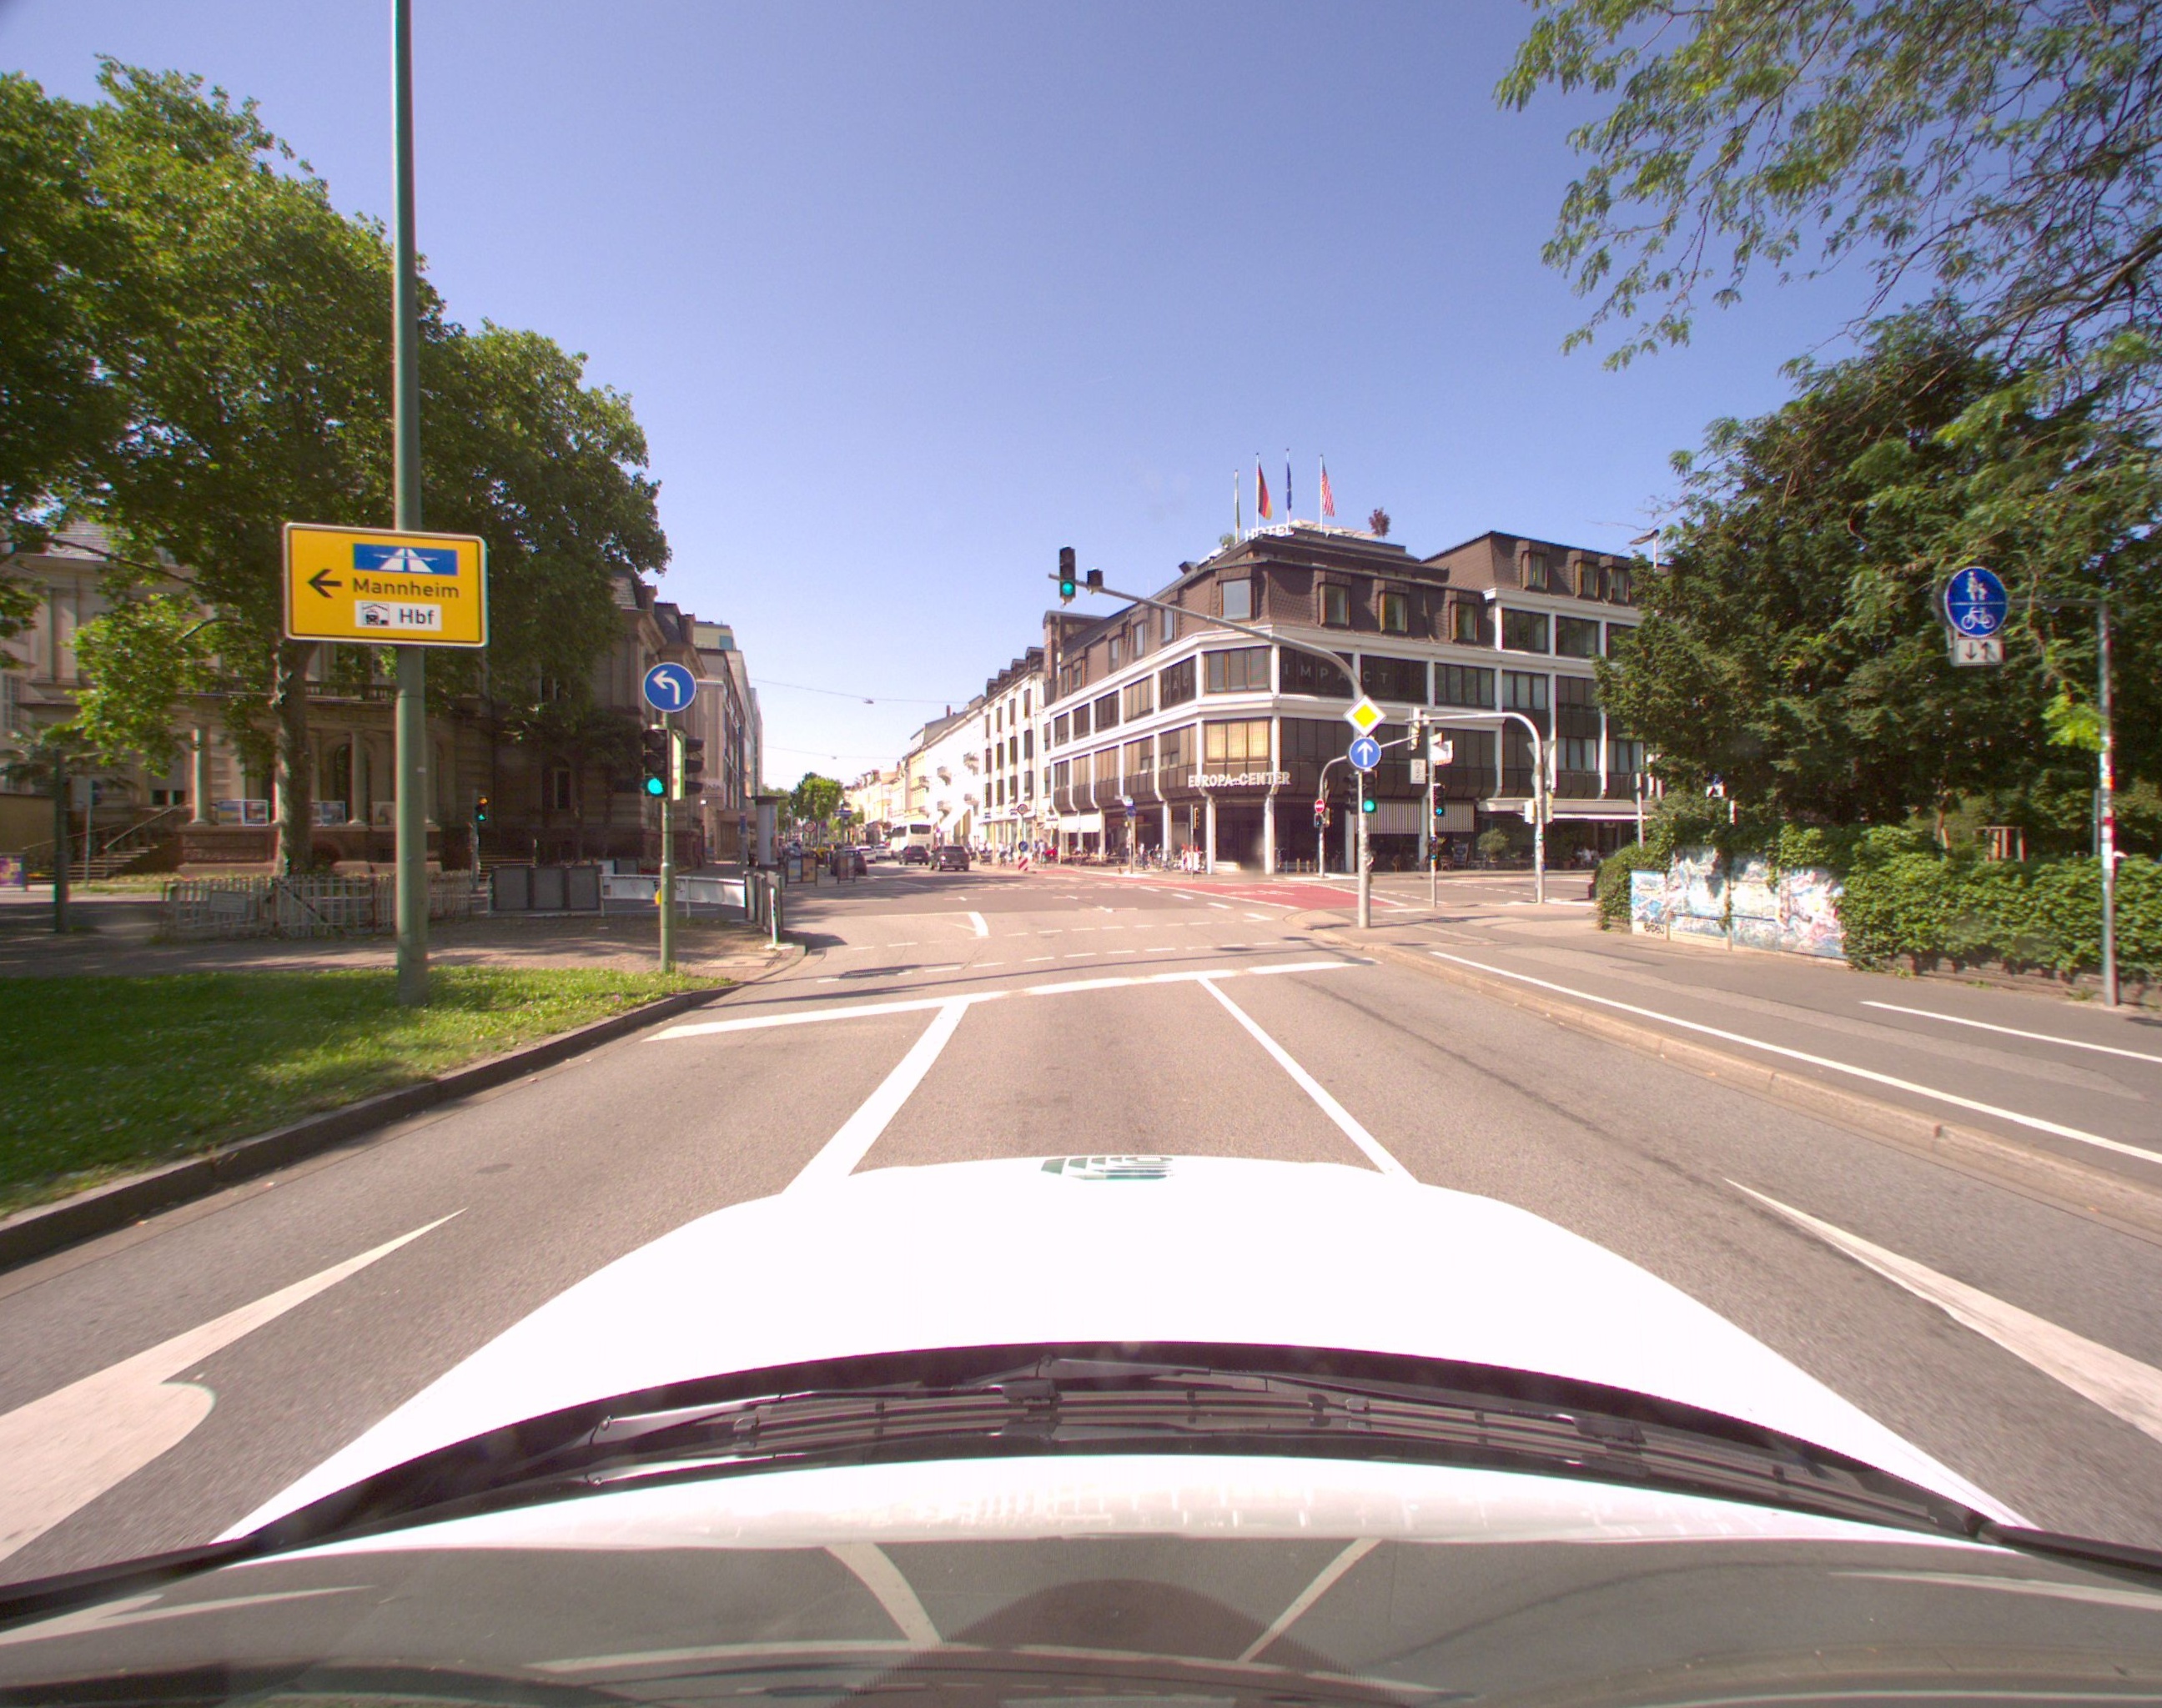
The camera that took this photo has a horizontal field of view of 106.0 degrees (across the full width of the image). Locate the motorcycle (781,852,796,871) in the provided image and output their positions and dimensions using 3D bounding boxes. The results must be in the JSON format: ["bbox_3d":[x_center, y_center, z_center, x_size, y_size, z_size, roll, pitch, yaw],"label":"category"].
[{"bbox_3d":[-16.281,0.405,45.388,0.454,0.998,2.152,1,0,-11],"label":"motorcycle"}]

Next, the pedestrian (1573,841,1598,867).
[{"bbox_3d":[27.305,0.013,44.055,0.929,1.393,0.752,-1,1,-21],"label":"pedestrian"}]

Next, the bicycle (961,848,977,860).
[{"bbox_3d":[-9.790,-0.005,71.140,0.841,1.099,2.335,0,0,-22],"label":"bicycle"}]

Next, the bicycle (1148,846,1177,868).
[{"bbox_3d":[4.531,0.156,45.095,1.573,1.120,0.276,-2,1,-14],"label":"bicycle"}]

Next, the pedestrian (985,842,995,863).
[{"bbox_3d":[-7.252,-0.116,64.867,0.622,1.719,0.830,0,0,-20],"label":"pedestrian"}]

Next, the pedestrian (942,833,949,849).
[{"bbox_3d":[-14.746,-1.424,88.774,0.575,1.778,1.014,-1,-1,-17],"label":"pedestrian"}]

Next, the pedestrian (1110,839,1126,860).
[{"bbox_3d":[2.488,-0.291,55.044,0.816,1.396,0.691,-1,0,-23],"label":"pedestrian"}]

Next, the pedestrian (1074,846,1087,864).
[{"bbox_3d":[-0.054,0.070,53.690,0.712,1.217,0.694,-1,-1,-12],"label":"pedestrian"}]

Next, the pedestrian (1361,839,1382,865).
[{"bbox_3d":[15.252,-0.120,42.777,0.818,1.334,0.978,0,1,33],"label":"pedestrian"}]

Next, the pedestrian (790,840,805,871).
[{"bbox_3d":[-15.678,0.073,45.034,0.696,1.695,0.686,-1,-1,-18],"label":"pedestrian"}]

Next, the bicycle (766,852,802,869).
[{"bbox_3d":[-20.166,0.441,55.291,2.250,1.120,0.551,1,-1,-32],"label":"bicycle"}]

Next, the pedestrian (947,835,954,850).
[{"bbox_3d":[-14.434,-1.319,89.864,0.647,1.617,0.817,-1,-1,-18],"label":"pedestrian"}]

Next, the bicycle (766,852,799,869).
[{"bbox_3d":[-20.046,0.444,54.640,1.973,1.120,0.551,1,-1,-32],"label":"bicycle"}]

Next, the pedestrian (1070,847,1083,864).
[{"bbox_3d":[-0.319,0.102,54.499,0.712,1.173,0.694,-1,-1,-12],"label":"pedestrian"}]

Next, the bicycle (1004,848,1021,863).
[{"bbox_3d":[-5.151,0.114,60.772,0.623,1.099,2.335,0,0,-22],"label":"bicycle"}]

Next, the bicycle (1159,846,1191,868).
[{"bbox_3d":[5.099,0.159,44.331,1.719,1.120,0.276,-2,1,-14],"label":"bicycle"}]

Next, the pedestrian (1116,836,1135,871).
[{"bbox_3d":[2.324,-0.028,42.427,0.833,1.835,0.694,-1,0,-12],"label":"pedestrian"}]

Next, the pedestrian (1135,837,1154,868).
[{"bbox_3d":[3.557,-0.081,45.661,0.833,1.663,0.694,-1,-1,-12],"label":"pedestrian"}]

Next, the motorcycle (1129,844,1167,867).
[{"bbox_3d":[4.014,0.092,48.625,2.223,1.290,0.951,-1,0,7],"label":"motorcycle"}]

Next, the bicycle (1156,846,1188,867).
[{"bbox_3d":[5.003,0.141,44.714,1.719,1.120,0.276,-2,1,-14],"label":"bicycle"}]

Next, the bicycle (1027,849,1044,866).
[{"bbox_3d":[-3.115,0.218,55.277,0.622,1.099,2.339,0,0,-17],"label":"bicycle"}]

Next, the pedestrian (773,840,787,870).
[{"bbox_3d":[-16.709,0.059,45.247,0.549,1.665,0.933,-1,-1,-12],"label":"pedestrian"}]

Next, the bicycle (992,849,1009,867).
[{"bbox_3d":[-5.522,0.265,55.755,0.667,1.120,2.228,1,1,-20],"label":"bicycle"}]

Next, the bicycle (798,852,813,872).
[{"bbox_3d":[-15.357,0.457,45.385,0.429,1.120,2.236,1,-1,-9],"label":"bicycle"}]

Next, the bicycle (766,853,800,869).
[{"bbox_3d":[-19.738,0.490,53.989,1.975,1.017,0.664,1,-1,-32],"label":"bicycle"}]

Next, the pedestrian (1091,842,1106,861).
[{"bbox_3d":[1.258,-0.205,58.692,0.880,1.367,0.533,-1,1,-22],"label":"pedestrian"}]

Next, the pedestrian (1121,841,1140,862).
[{"bbox_3d":[3.225,-0.179,53.210,0.899,1.351,1.097,-1,-1,-21],"label":"pedestrian"}]

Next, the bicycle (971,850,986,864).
[{"bbox_3d":[-8.037,0.211,63.854,0.623,1.099,2.335,0,0,-22],"label":"bicycle"}]

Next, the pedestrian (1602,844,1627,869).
[{"bbox_3d":[29.305,0.130,44.712,0.929,1.393,0.752,-1,1,-21],"label":"pedestrian"}]

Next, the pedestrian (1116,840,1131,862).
[{"bbox_3d":[2.842,-0.190,54.282,0.714,1.396,0.692,-1,-1,-21],"label":"pedestrian"}]

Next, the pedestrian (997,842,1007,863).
[{"bbox_3d":[-6.389,-0.127,65.785,0.622,1.719,0.830,0,0,-18],"label":"pedestrian"}]

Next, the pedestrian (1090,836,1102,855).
[{"bbox_3d":[1.115,-0.609,59.707,0.747,1.367,0.580,-1,1,-22],"label":"pedestrian"}]

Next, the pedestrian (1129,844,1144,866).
[{"bbox_3d":[3.577,0.056,52.319,0.714,1.396,0.692,-1,-1,-21],"label":"pedestrian"}]

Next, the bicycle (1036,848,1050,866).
[{"bbox_3d":[-2.463,0.175,52.213,0.595,1.120,1.793,-1,1,-12],"label":"bicycle"}]

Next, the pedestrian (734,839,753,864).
[{"bbox_3d":[-23.390,-0.180,56.451,1.007,1.773,0.776,0,0,-41],"label":"pedestrian"}]

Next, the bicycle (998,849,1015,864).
[{"bbox_3d":[-5.354,0.171,58.347,0.623,1.099,2.335,0,0,-22],"label":"bicycle"}]
